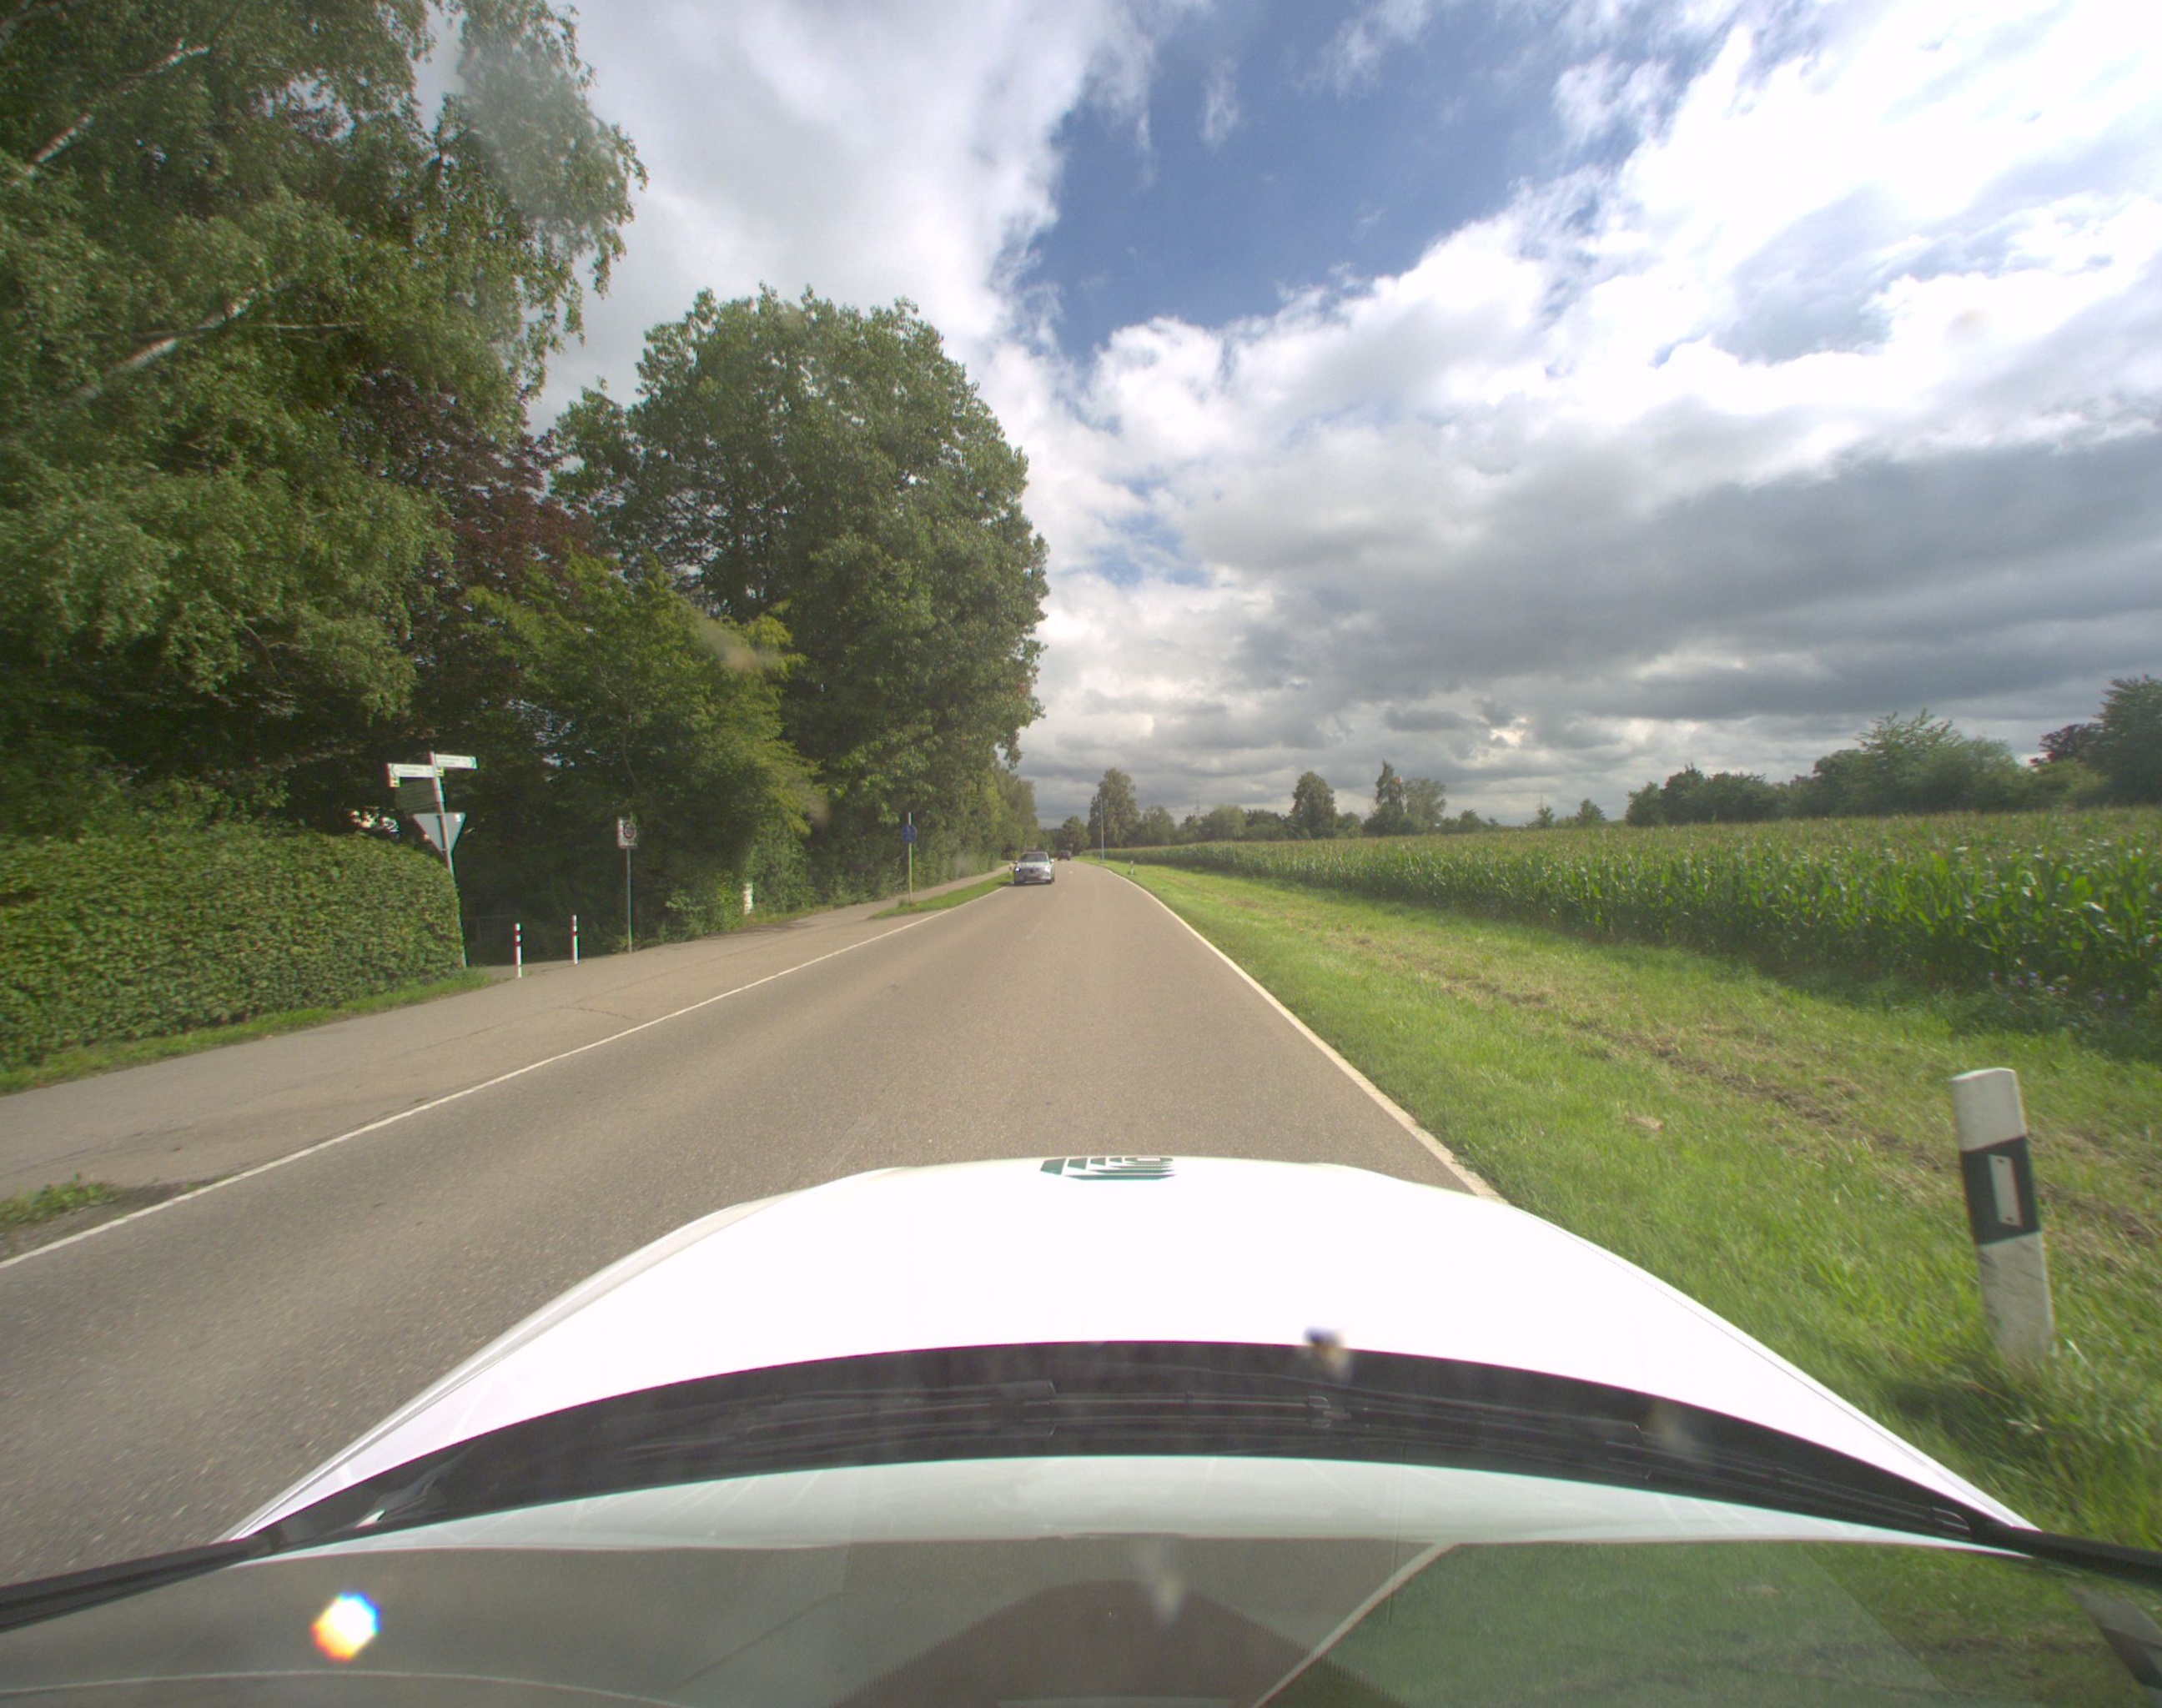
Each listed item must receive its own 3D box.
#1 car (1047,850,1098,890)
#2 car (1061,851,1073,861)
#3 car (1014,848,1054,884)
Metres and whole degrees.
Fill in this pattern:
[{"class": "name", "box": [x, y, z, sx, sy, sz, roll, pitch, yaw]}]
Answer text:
[{"class": "car", "box": [-0.515, 0.815, 42.597, 1.994, 2.014, 3.985, 1, -1, -11]}, {"class": "car", "box": [-2.285, 0.284, 133.264, 1.988, 1.585, 3.997, 1, -1, -2]}, {"class": "car", "box": [-2.372, 0.594, 41.652, 1.806, 1.650, 4.290, -3, 0, -1]}]
